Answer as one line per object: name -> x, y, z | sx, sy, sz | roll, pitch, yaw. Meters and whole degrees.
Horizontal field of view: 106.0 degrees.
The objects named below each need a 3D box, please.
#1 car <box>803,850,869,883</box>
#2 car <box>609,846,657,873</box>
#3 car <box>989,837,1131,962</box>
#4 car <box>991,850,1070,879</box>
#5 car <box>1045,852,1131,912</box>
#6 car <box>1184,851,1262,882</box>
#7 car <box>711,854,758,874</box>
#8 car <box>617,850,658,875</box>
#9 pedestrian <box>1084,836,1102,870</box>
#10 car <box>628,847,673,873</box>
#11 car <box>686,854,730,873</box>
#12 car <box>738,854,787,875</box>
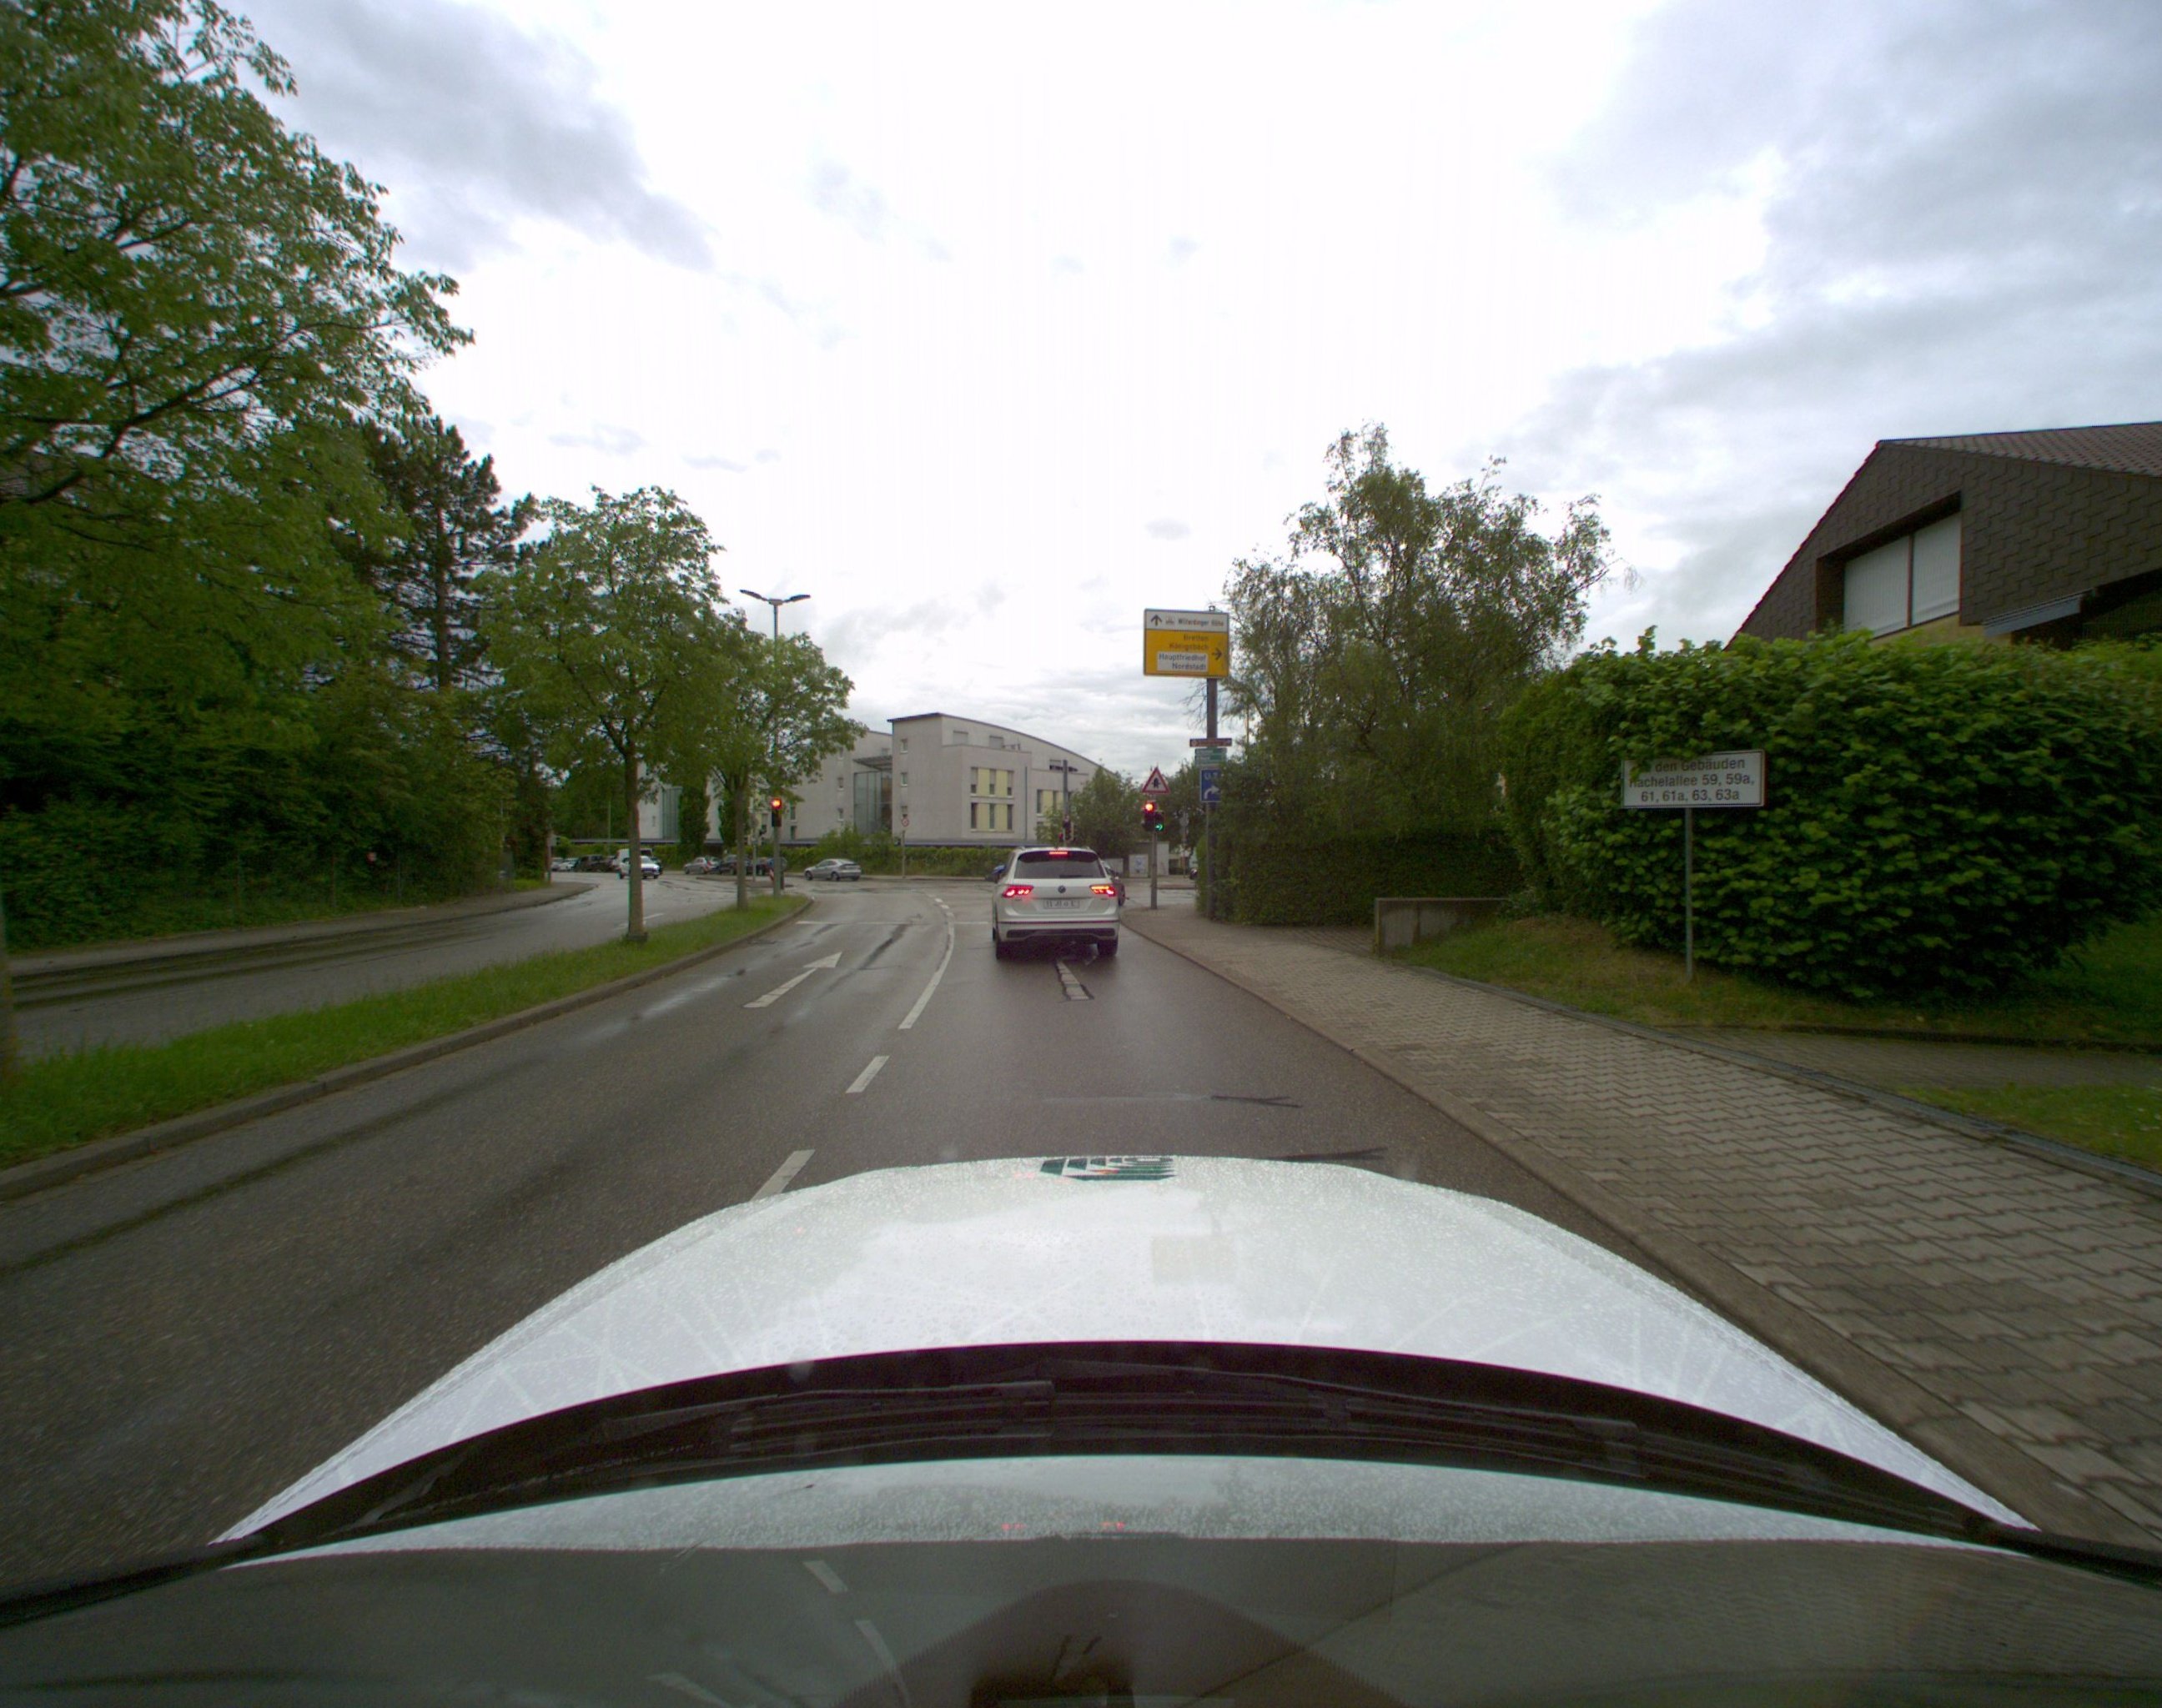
car -> -15.780, 0.771, 52.363 | 3.949, 1.757, 2.013 | 4, 3, 36
car -> -44.561, 0.546, 81.012 | 5.189, 2.413, 2.616 | -3, -1, 43
car -> -0.519, 0.645, 13.447 | 1.919, 1.722, 4.253 | 0, 0, -8
car -> -2.850, 0.573, 45.925 | 3.954, 1.555, 2.010 | 0, 1, 19
car -> 0.307, 0.808, 25.628 | 1.753, 1.509, 4.016 | 3, 3, 14
car -> 7.855, 0.681, 45.327 | 3.975, 1.551, 2.000 | 0, 3, -1
car -> -29.066, 0.825, 68.272 | 3.949, 1.555, 2.013 | 0, 2, 40
car -> -31.517, 0.564, 57.849 | 2.009, 1.640, 3.956 | 0, 1, -37
pedestrian -> 0.735, -0.081, 49.581 | 0.792, 2.013, 0.854 | 0, 2, 18
car -> -37.491, 0.495, 70.921 | 3.950, 2.013, 1.993 | 5, 4, 38
car -> -32.701, 0.832, 71.311 | 3.949, 1.555, 2.012 | 0, 0, 40
car -> -25.559, 0.836, 65.296 | 3.949, 1.555, 2.013 | 0, 2, 40
